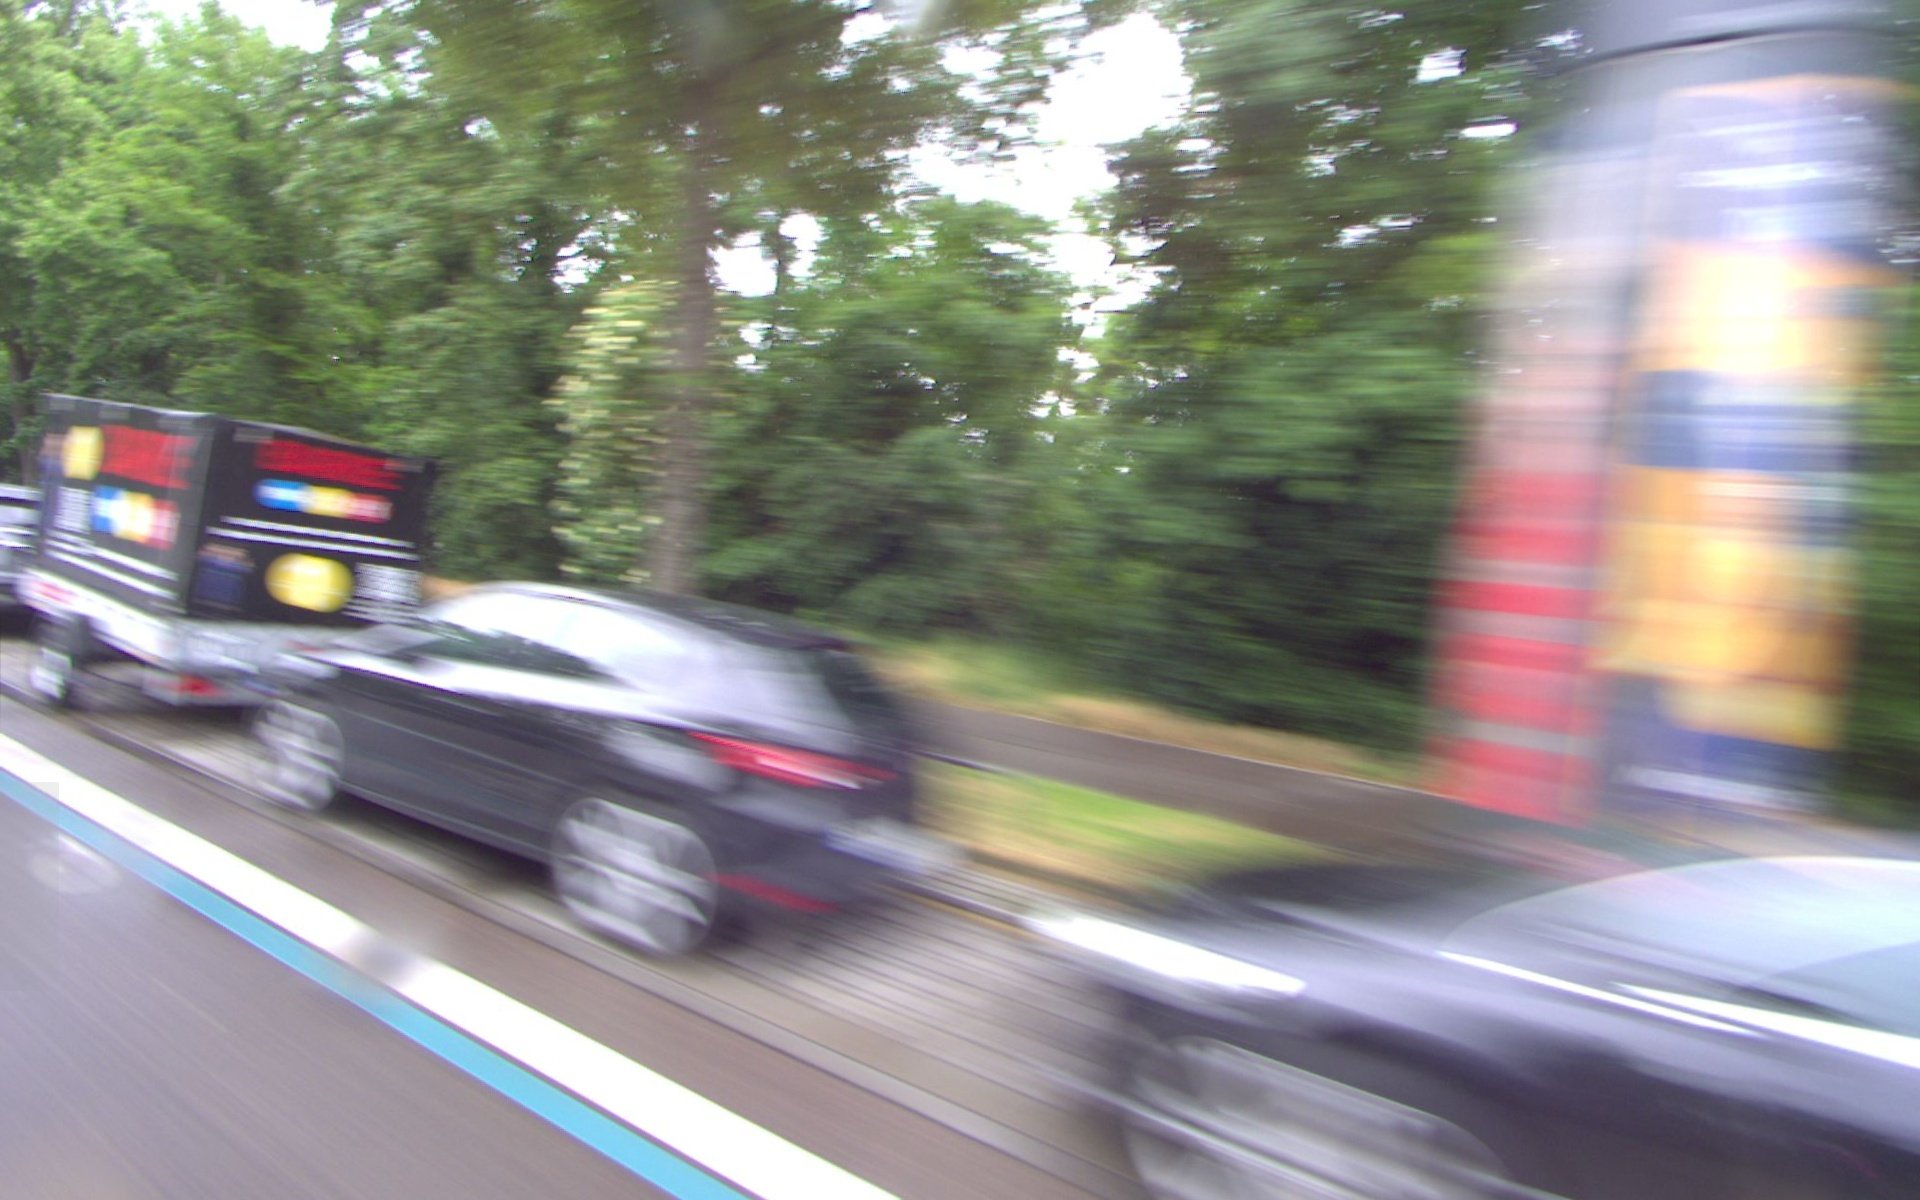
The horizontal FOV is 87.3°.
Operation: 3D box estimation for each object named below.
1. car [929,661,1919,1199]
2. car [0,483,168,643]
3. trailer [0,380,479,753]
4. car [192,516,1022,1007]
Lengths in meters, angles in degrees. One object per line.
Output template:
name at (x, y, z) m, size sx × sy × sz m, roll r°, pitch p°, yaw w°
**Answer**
car at (2.307, 1.197, 2.582) m, size 4.370 × 1.409 × 1.756 m, roll 7°, pitch -2°, yaw 29°
car at (-10.749, -0.564, 11.030) m, size 4.355 × 1.468 × 1.797 m, roll 7°, pitch 0°, yaw 32°
trailer at (-6.285, -0.366, 8.151) m, size 4.689 × 2.275 × 1.908 m, roll 7°, pitch 0°, yaw 32°
car at (-1.995, 0.592, 5.431) m, size 4.128 × 1.502 × 1.827 m, roll 7°, pitch -2°, yaw 30°
